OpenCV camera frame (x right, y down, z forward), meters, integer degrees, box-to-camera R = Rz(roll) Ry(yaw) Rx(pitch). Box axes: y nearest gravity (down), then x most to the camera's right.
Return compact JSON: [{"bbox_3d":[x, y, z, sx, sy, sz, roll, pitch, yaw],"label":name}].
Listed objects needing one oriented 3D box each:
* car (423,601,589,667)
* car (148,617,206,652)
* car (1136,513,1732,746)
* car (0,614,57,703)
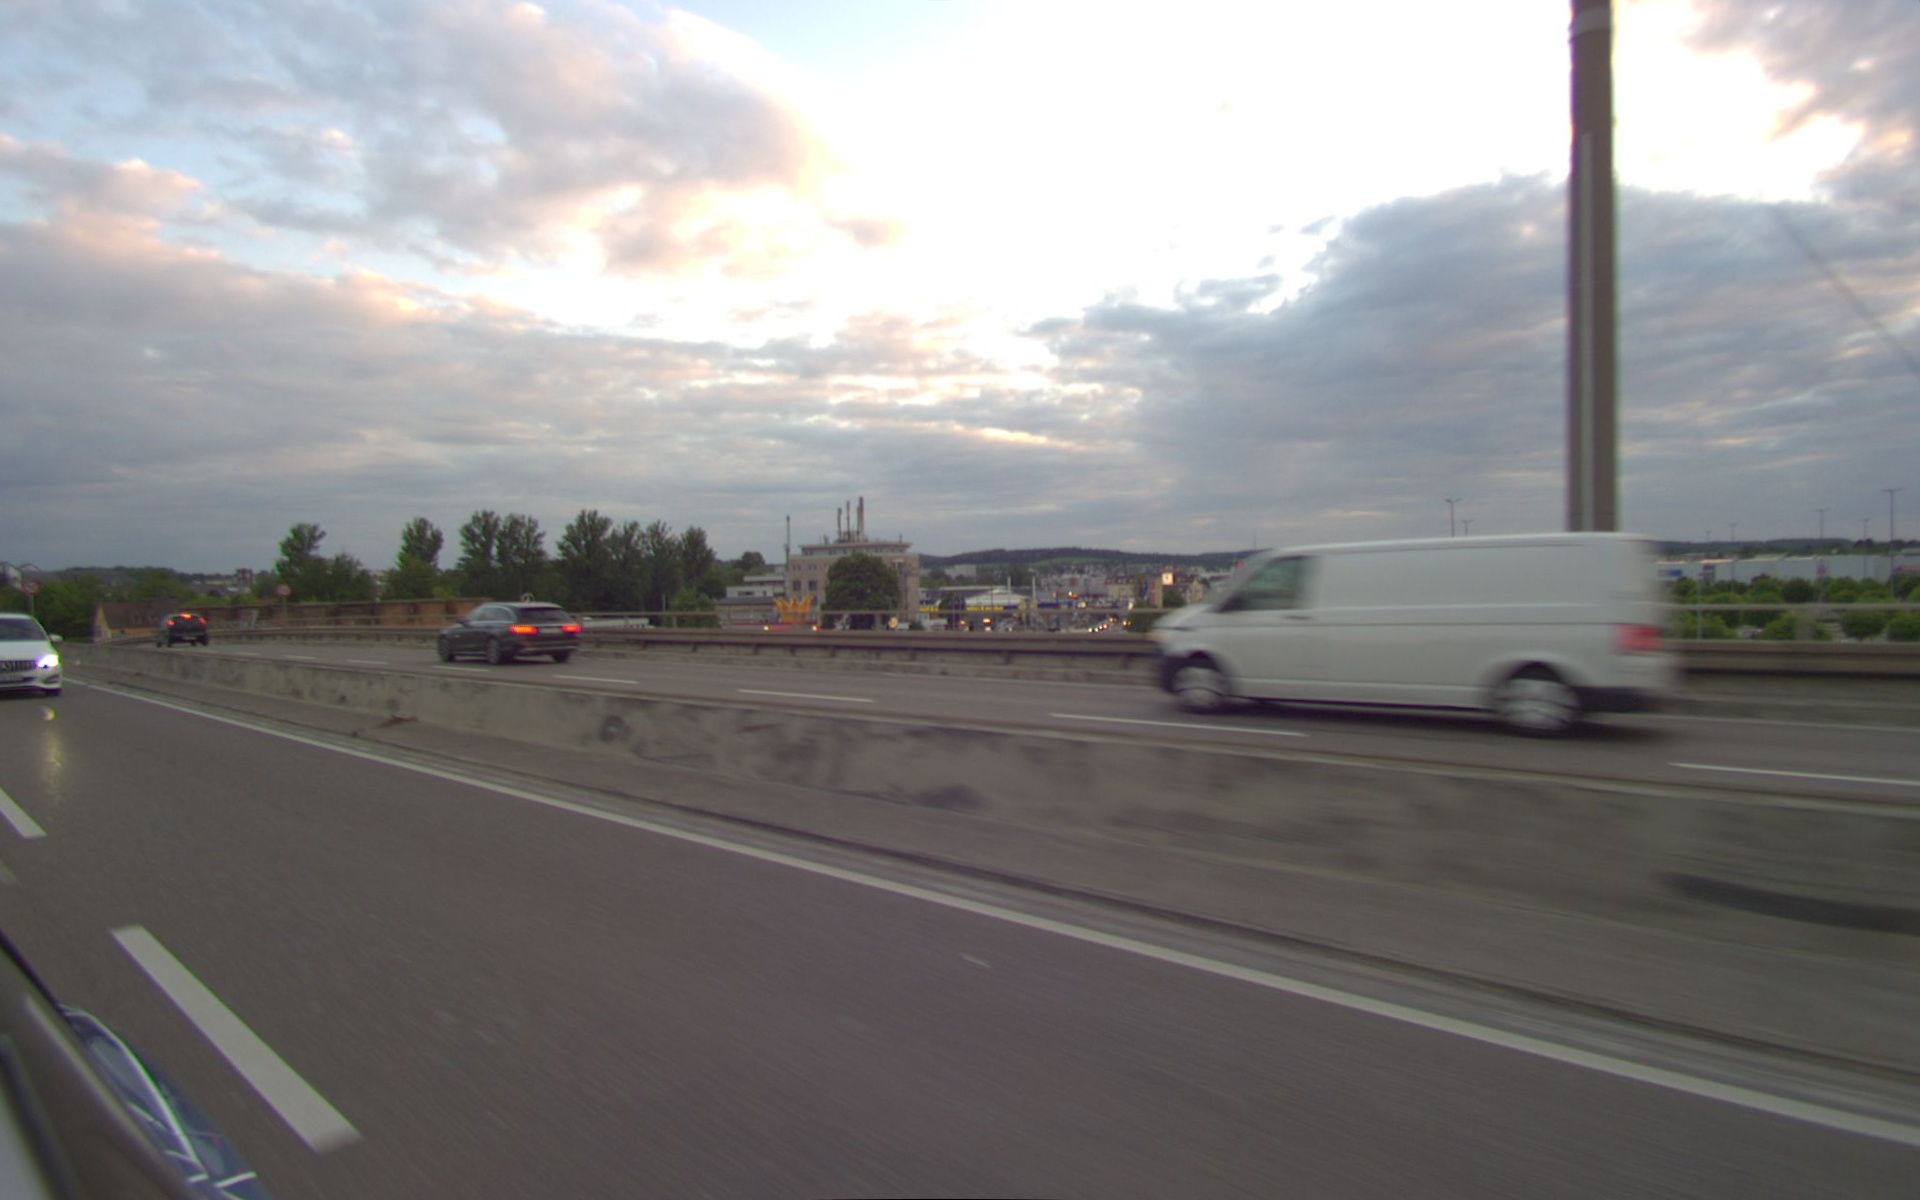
[{"bbox_3d":[-11.375,0.839,25.210,4.897,1.485,1.810,-2,-1,40],"label":"car"},{"bbox_3d":[-39.346,1.704,50.830,4.042,1.606,1.639,-1,0,42],"label":"car"},{"bbox_3d":[4.754,0.280,10.814,5.456,1.915,1.882,-1,0,41],"label":"car"},{"bbox_3d":[-18.741,1.125,19.341,4.781,1.548,1.673,-3,-1,42],"label":"car"}]
